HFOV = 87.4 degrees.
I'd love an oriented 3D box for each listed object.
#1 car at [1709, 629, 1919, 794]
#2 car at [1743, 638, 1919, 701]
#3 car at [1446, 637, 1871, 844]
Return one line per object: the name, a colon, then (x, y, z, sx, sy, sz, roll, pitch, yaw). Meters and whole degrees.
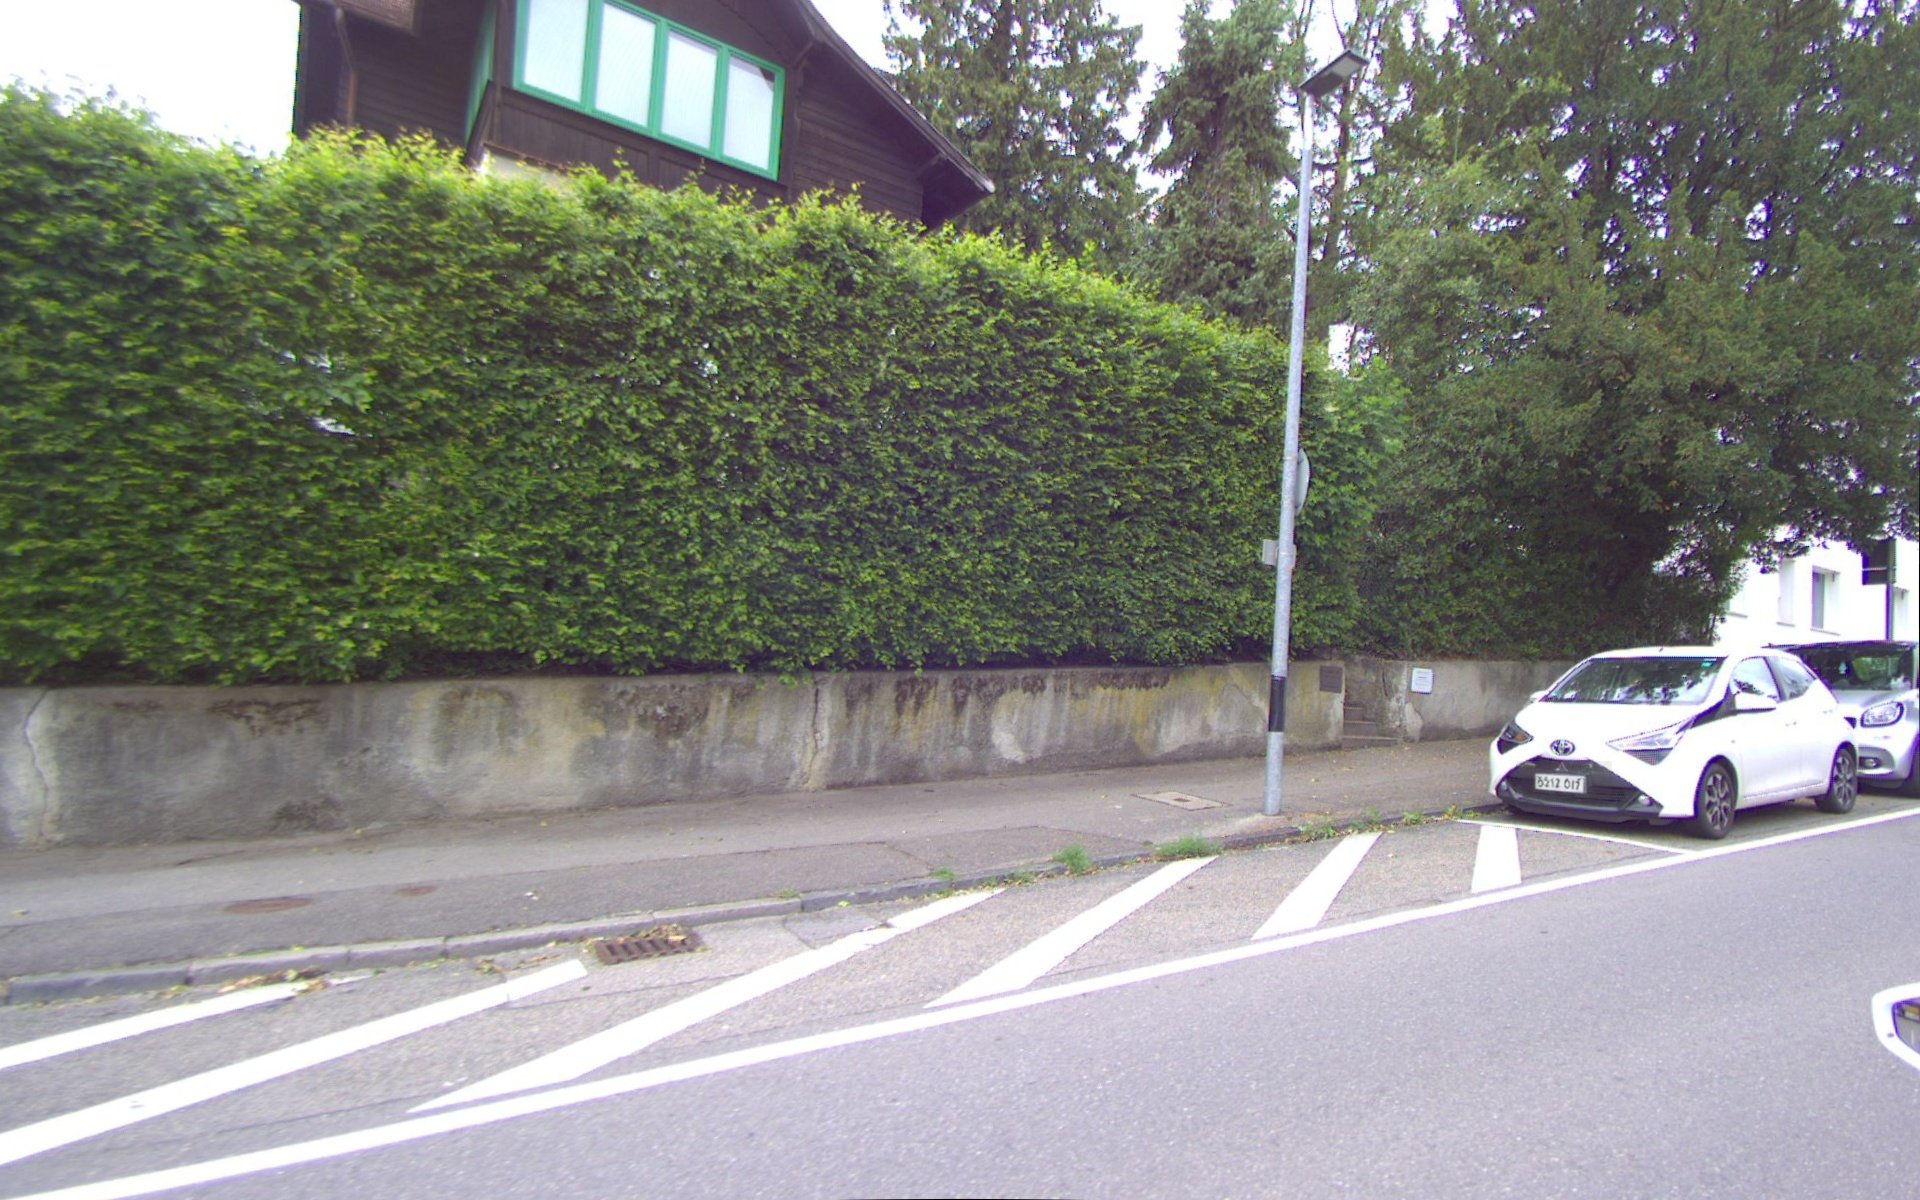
car: (9.719, 1.115, 10.855, 2.941, 1.538, 1.616, 2, -2, -31)
car: (21.588, 1.639, 24.354, 1.724, 1.372, 3.770, 2, -2, -34)
car: (6.137, 1.098, 8.799, 3.472, 1.466, 1.737, 2, -4, -30)
